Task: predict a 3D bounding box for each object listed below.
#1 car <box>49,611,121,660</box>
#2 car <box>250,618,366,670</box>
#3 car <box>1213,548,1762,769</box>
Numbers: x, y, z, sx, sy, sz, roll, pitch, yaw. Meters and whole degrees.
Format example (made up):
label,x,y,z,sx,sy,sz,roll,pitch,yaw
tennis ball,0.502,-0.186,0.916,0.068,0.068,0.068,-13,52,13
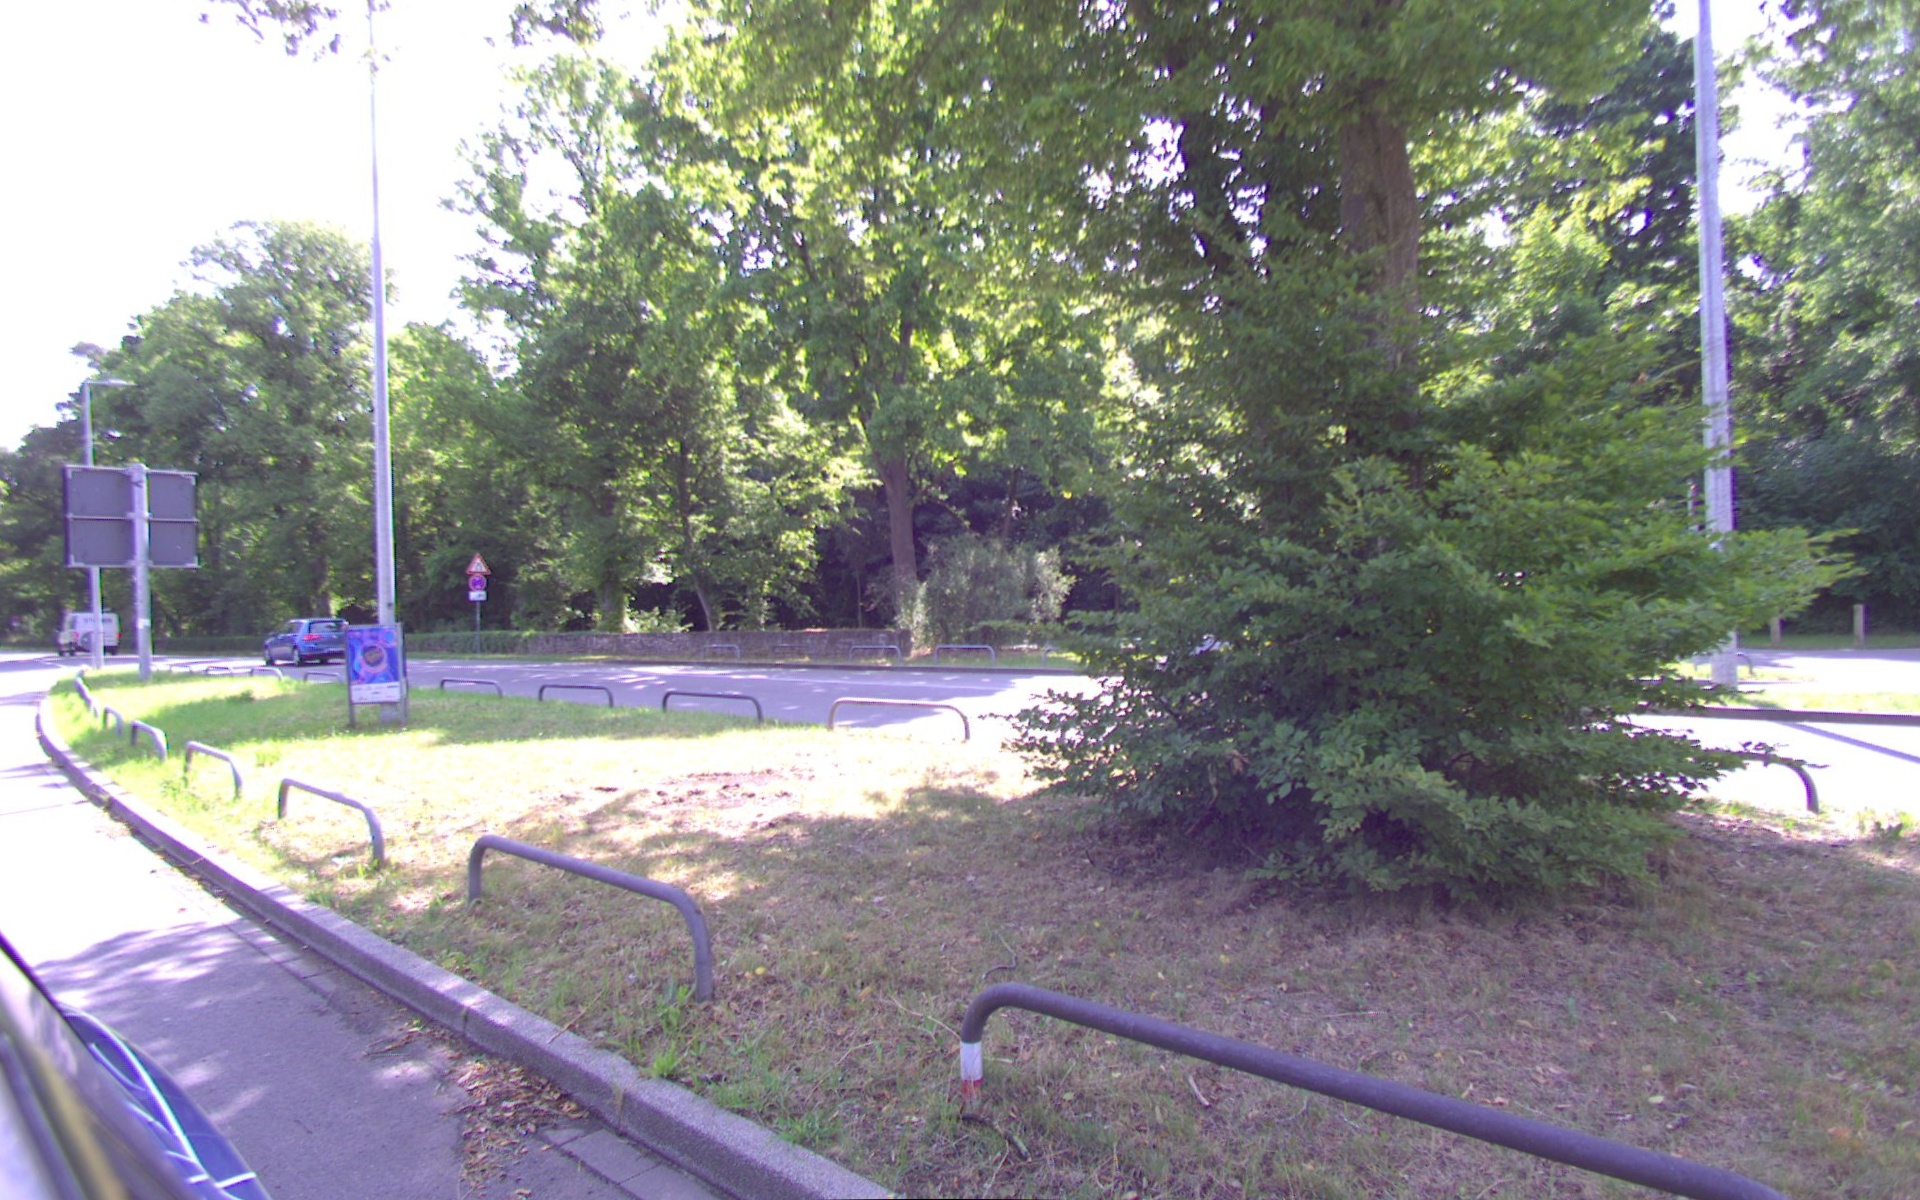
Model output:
label,x,y,z,sx,sy,sz,roll,pitch,yaw
car,-48.368,1.920,55.922,5.356,2.449,1.956,-1,1,38
car,-20.548,1.351,31.847,4.058,1.457,1.680,-1,1,36
car,4.795,0.465,9.591,4.297,1.642,1.743,-2,0,41
